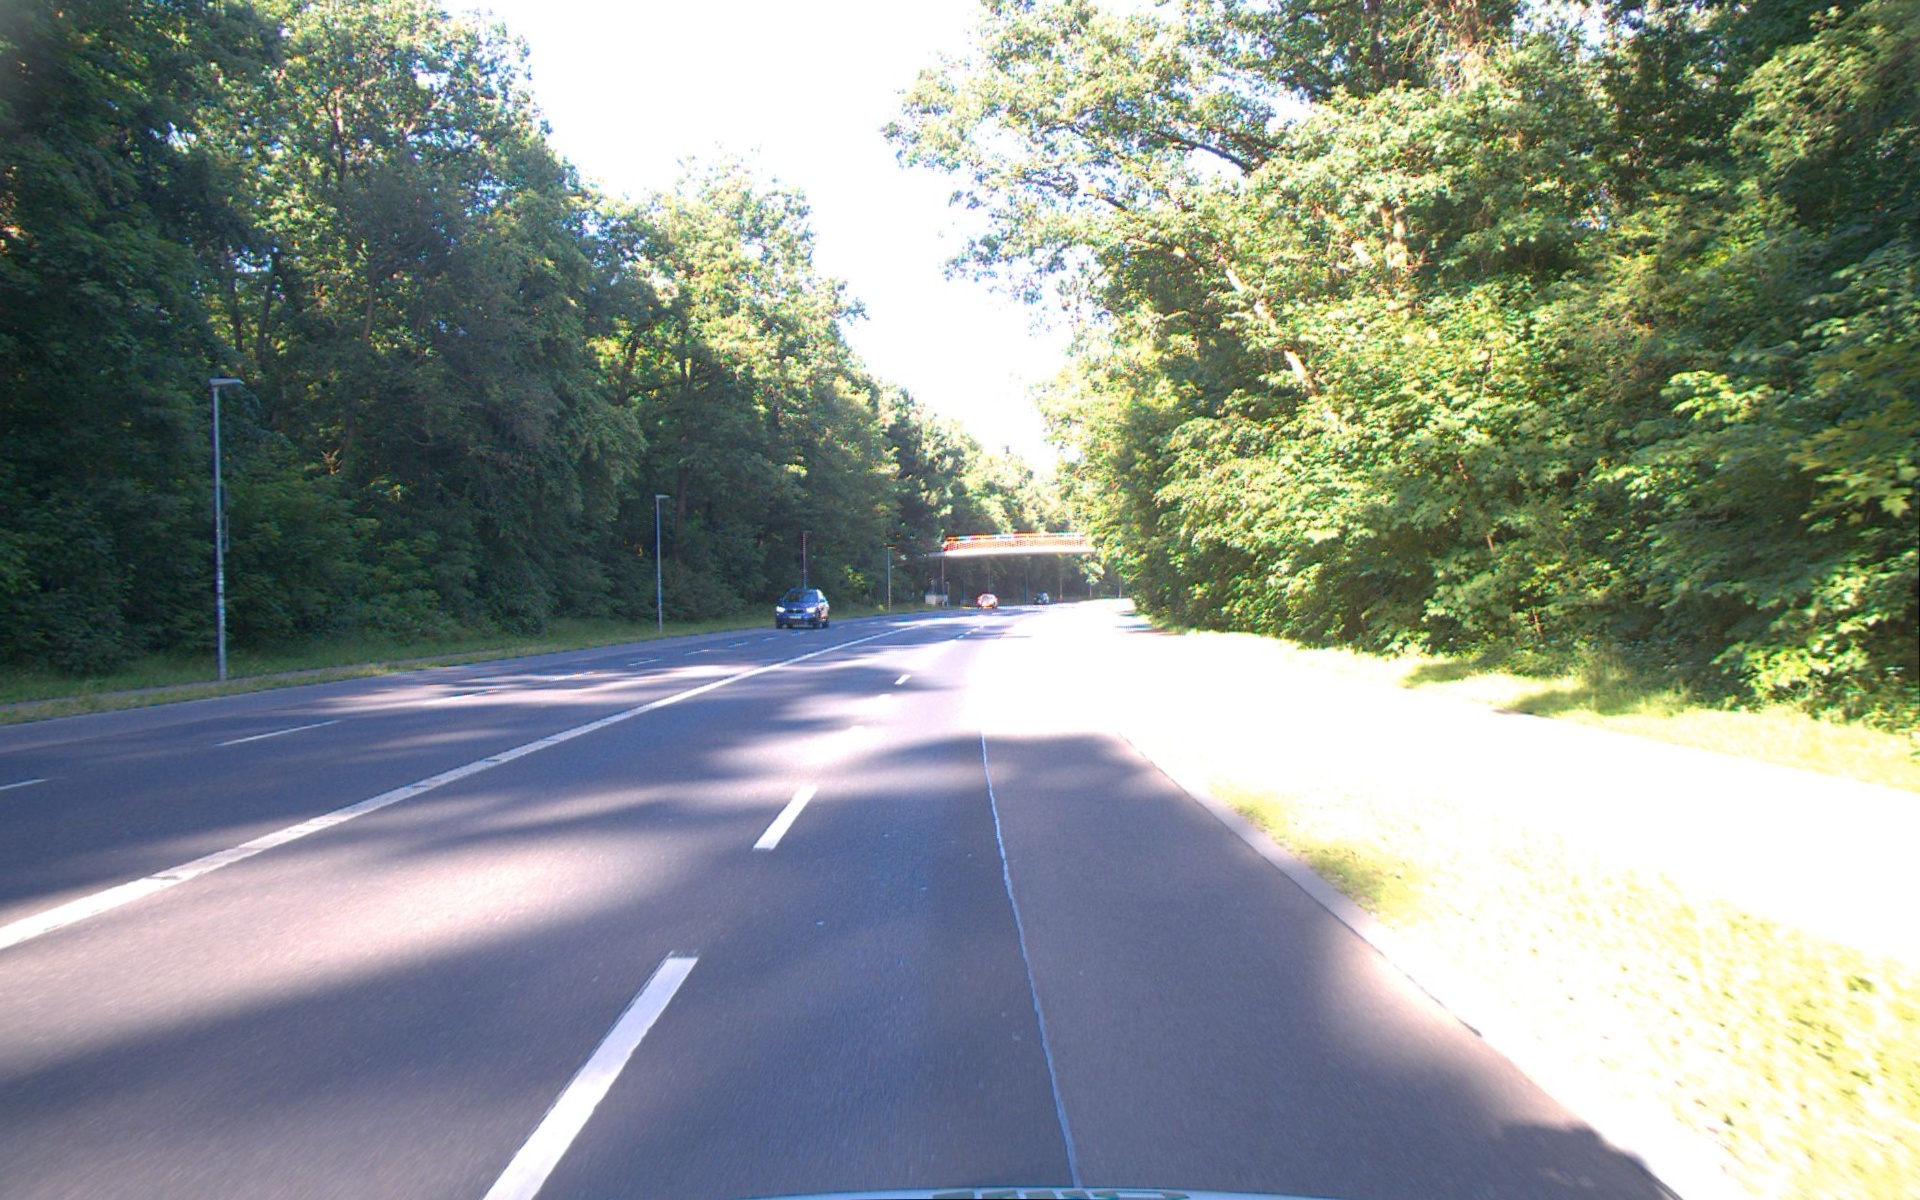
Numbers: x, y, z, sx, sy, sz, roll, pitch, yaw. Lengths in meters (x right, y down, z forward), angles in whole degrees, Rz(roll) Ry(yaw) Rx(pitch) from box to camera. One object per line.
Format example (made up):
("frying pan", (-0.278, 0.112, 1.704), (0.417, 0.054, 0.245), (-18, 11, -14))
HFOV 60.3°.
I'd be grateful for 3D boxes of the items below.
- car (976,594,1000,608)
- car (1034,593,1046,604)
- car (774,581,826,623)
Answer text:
("car", (2.834, 0.110, 166.602), (1.673, 1.448, 4.134), (0, 0, 10))
("car", (10.439, -0.206, 215.522), (1.464, 1.470, 3.502), (0, 0, 3))
("car", (-6.681, 0.077, 69.518), (1.770, 1.692, 4.521), (0, 0, 0))
